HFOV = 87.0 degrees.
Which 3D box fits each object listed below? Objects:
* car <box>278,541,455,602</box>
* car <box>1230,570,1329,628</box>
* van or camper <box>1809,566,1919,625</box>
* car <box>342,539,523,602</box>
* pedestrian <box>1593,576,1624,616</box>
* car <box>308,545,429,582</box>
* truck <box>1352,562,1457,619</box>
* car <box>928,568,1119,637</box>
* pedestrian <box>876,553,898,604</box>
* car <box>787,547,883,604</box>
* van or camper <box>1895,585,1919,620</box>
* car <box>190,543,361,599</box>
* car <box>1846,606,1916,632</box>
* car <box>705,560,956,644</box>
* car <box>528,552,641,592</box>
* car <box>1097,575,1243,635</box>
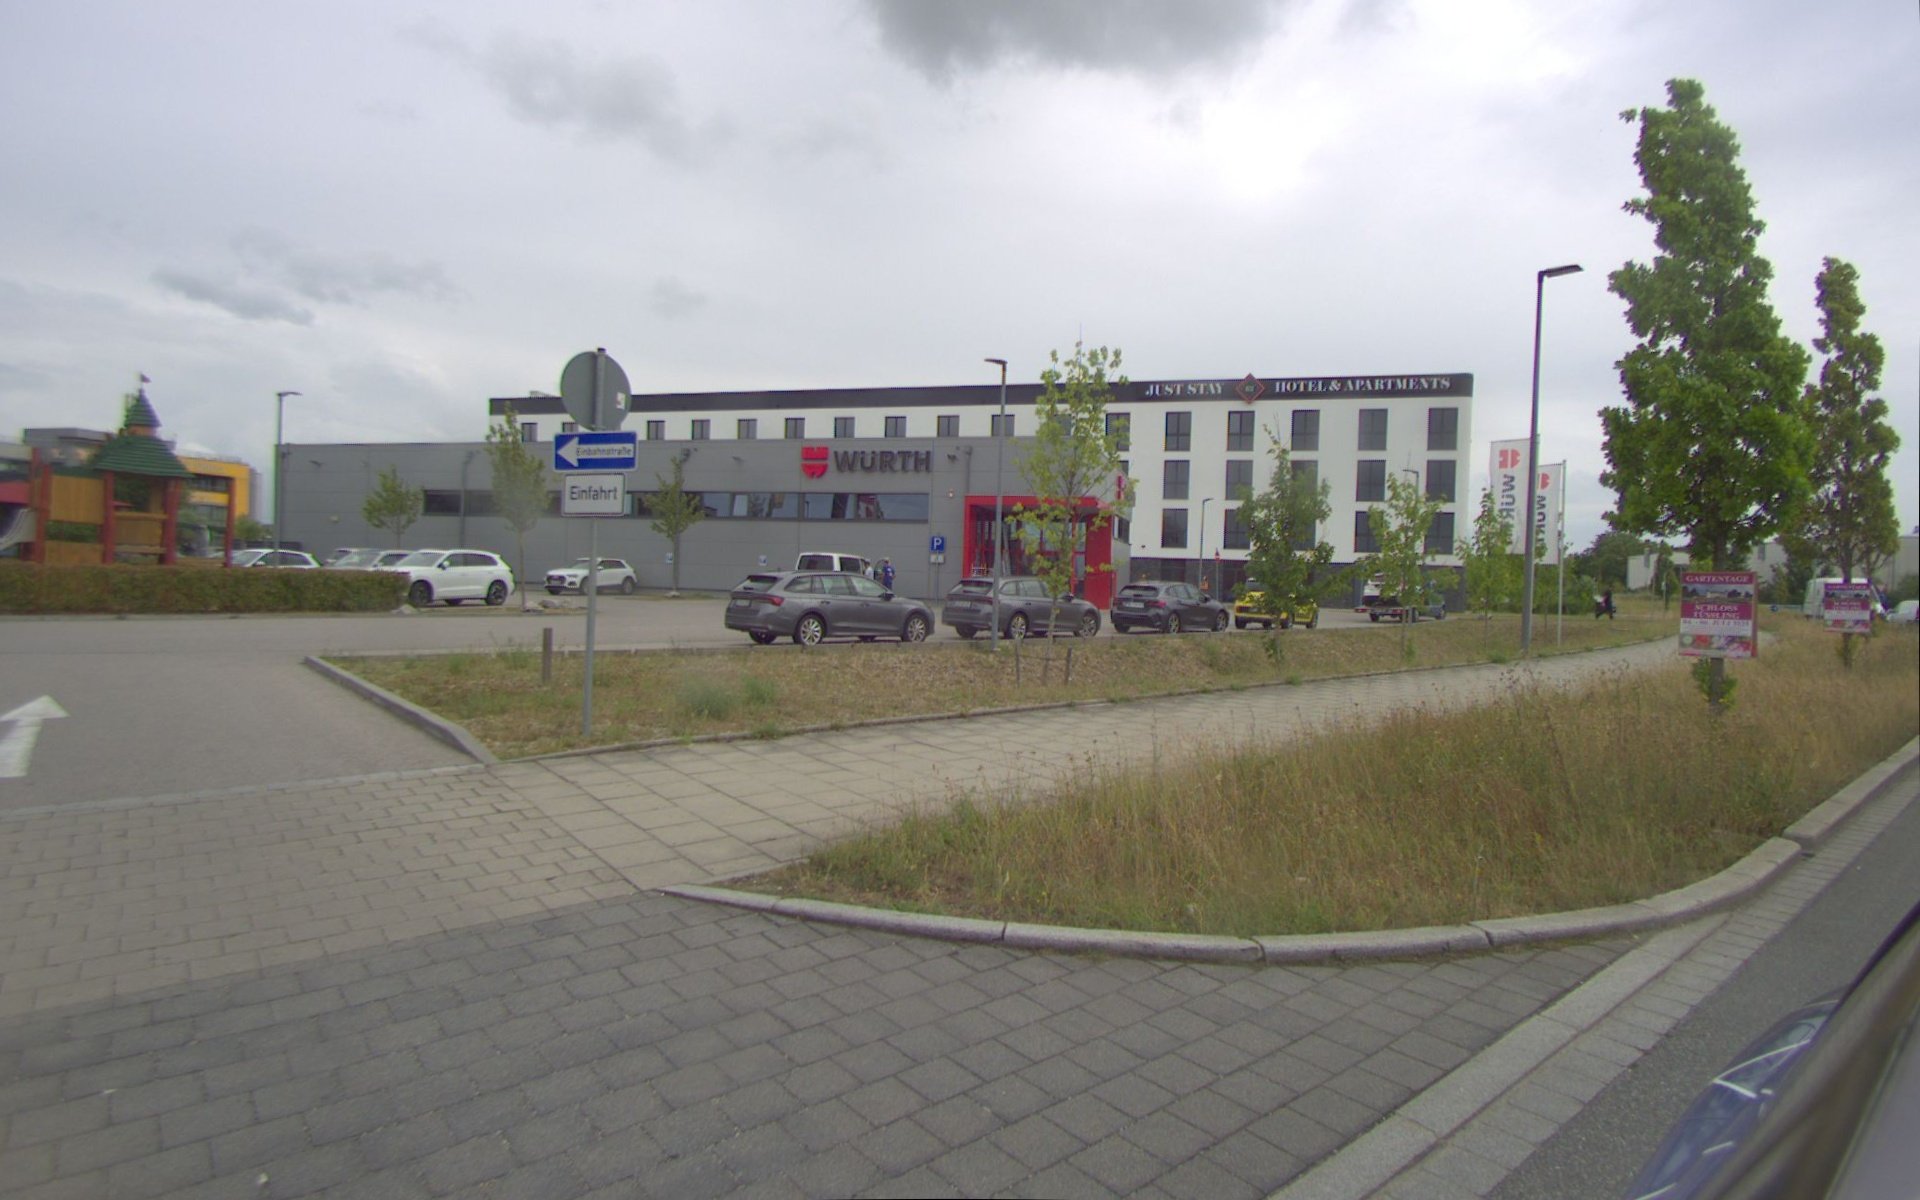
[{"bbox_3d":[-18.102,-0.847,31.152,2.103,1.699,4.517,2,1,15],"label":"car"},{"bbox_3d":[10.474,-0.051,32.975,1.758,1.707,4.354,2,1,36],"label":"car"},{"bbox_3d":[43.638,-0.252,49.009,2.240,2.649,5.653,2,1,23],"label":"van or camper"},{"bbox_3d":[-15.587,-0.858,30.240,1.974,1.718,4.764,2,1,19],"label":"car"},{"bbox_3d":[31.878,-0.221,49.745,1.188,1.880,1.061,3,3,36],"label":"pedestrian"},{"bbox_3d":[-26.881,-1.648,46.172,2.055,1.537,4.548,3,2,19],"label":"car"},{"bbox_3d":[20.441,-0.429,46.235,2.224,2.354,8.096,2,2,40],"label":"truck"},{"bbox_3d":[1.608,0.049,24.097,1.864,1.455,4.801,3,2,44],"label":"car"},{"bbox_3d":[-2.743,-0.805,38.193,0.605,1.892,0.799,1,1,13],"label":"pedestrian"},{"bbox_3d":[-4.667,-0.924,38.430,1.972,2.012,4.613,2,1,16],"label":"car"},{"bbox_3d":[56.643,0.186,58.841,1.934,2.032,5.080,3,2,27],"label":"van or camper"},{"bbox_3d":[-21.998,-0.916,32.726,1.960,1.649,4.301,2,1,19],"label":"car"},{"bbox_3d":[59.986,1.203,66.008,2.152,1.501,4.856,2,1,28],"label":"car"},{"bbox_3d":[-2.492,0.010,20.346,4.751,1.478,1.964,0,2,-44],"label":"car"},{"bbox_3d":[-15.807,-1.189,42.836,2.055,1.537,4.548,3,2,19],"label":"car"},{"bbox_3d":[5.982,0.065,28.484,1.993,1.515,4.538,3,3,42],"label":"car"}]
